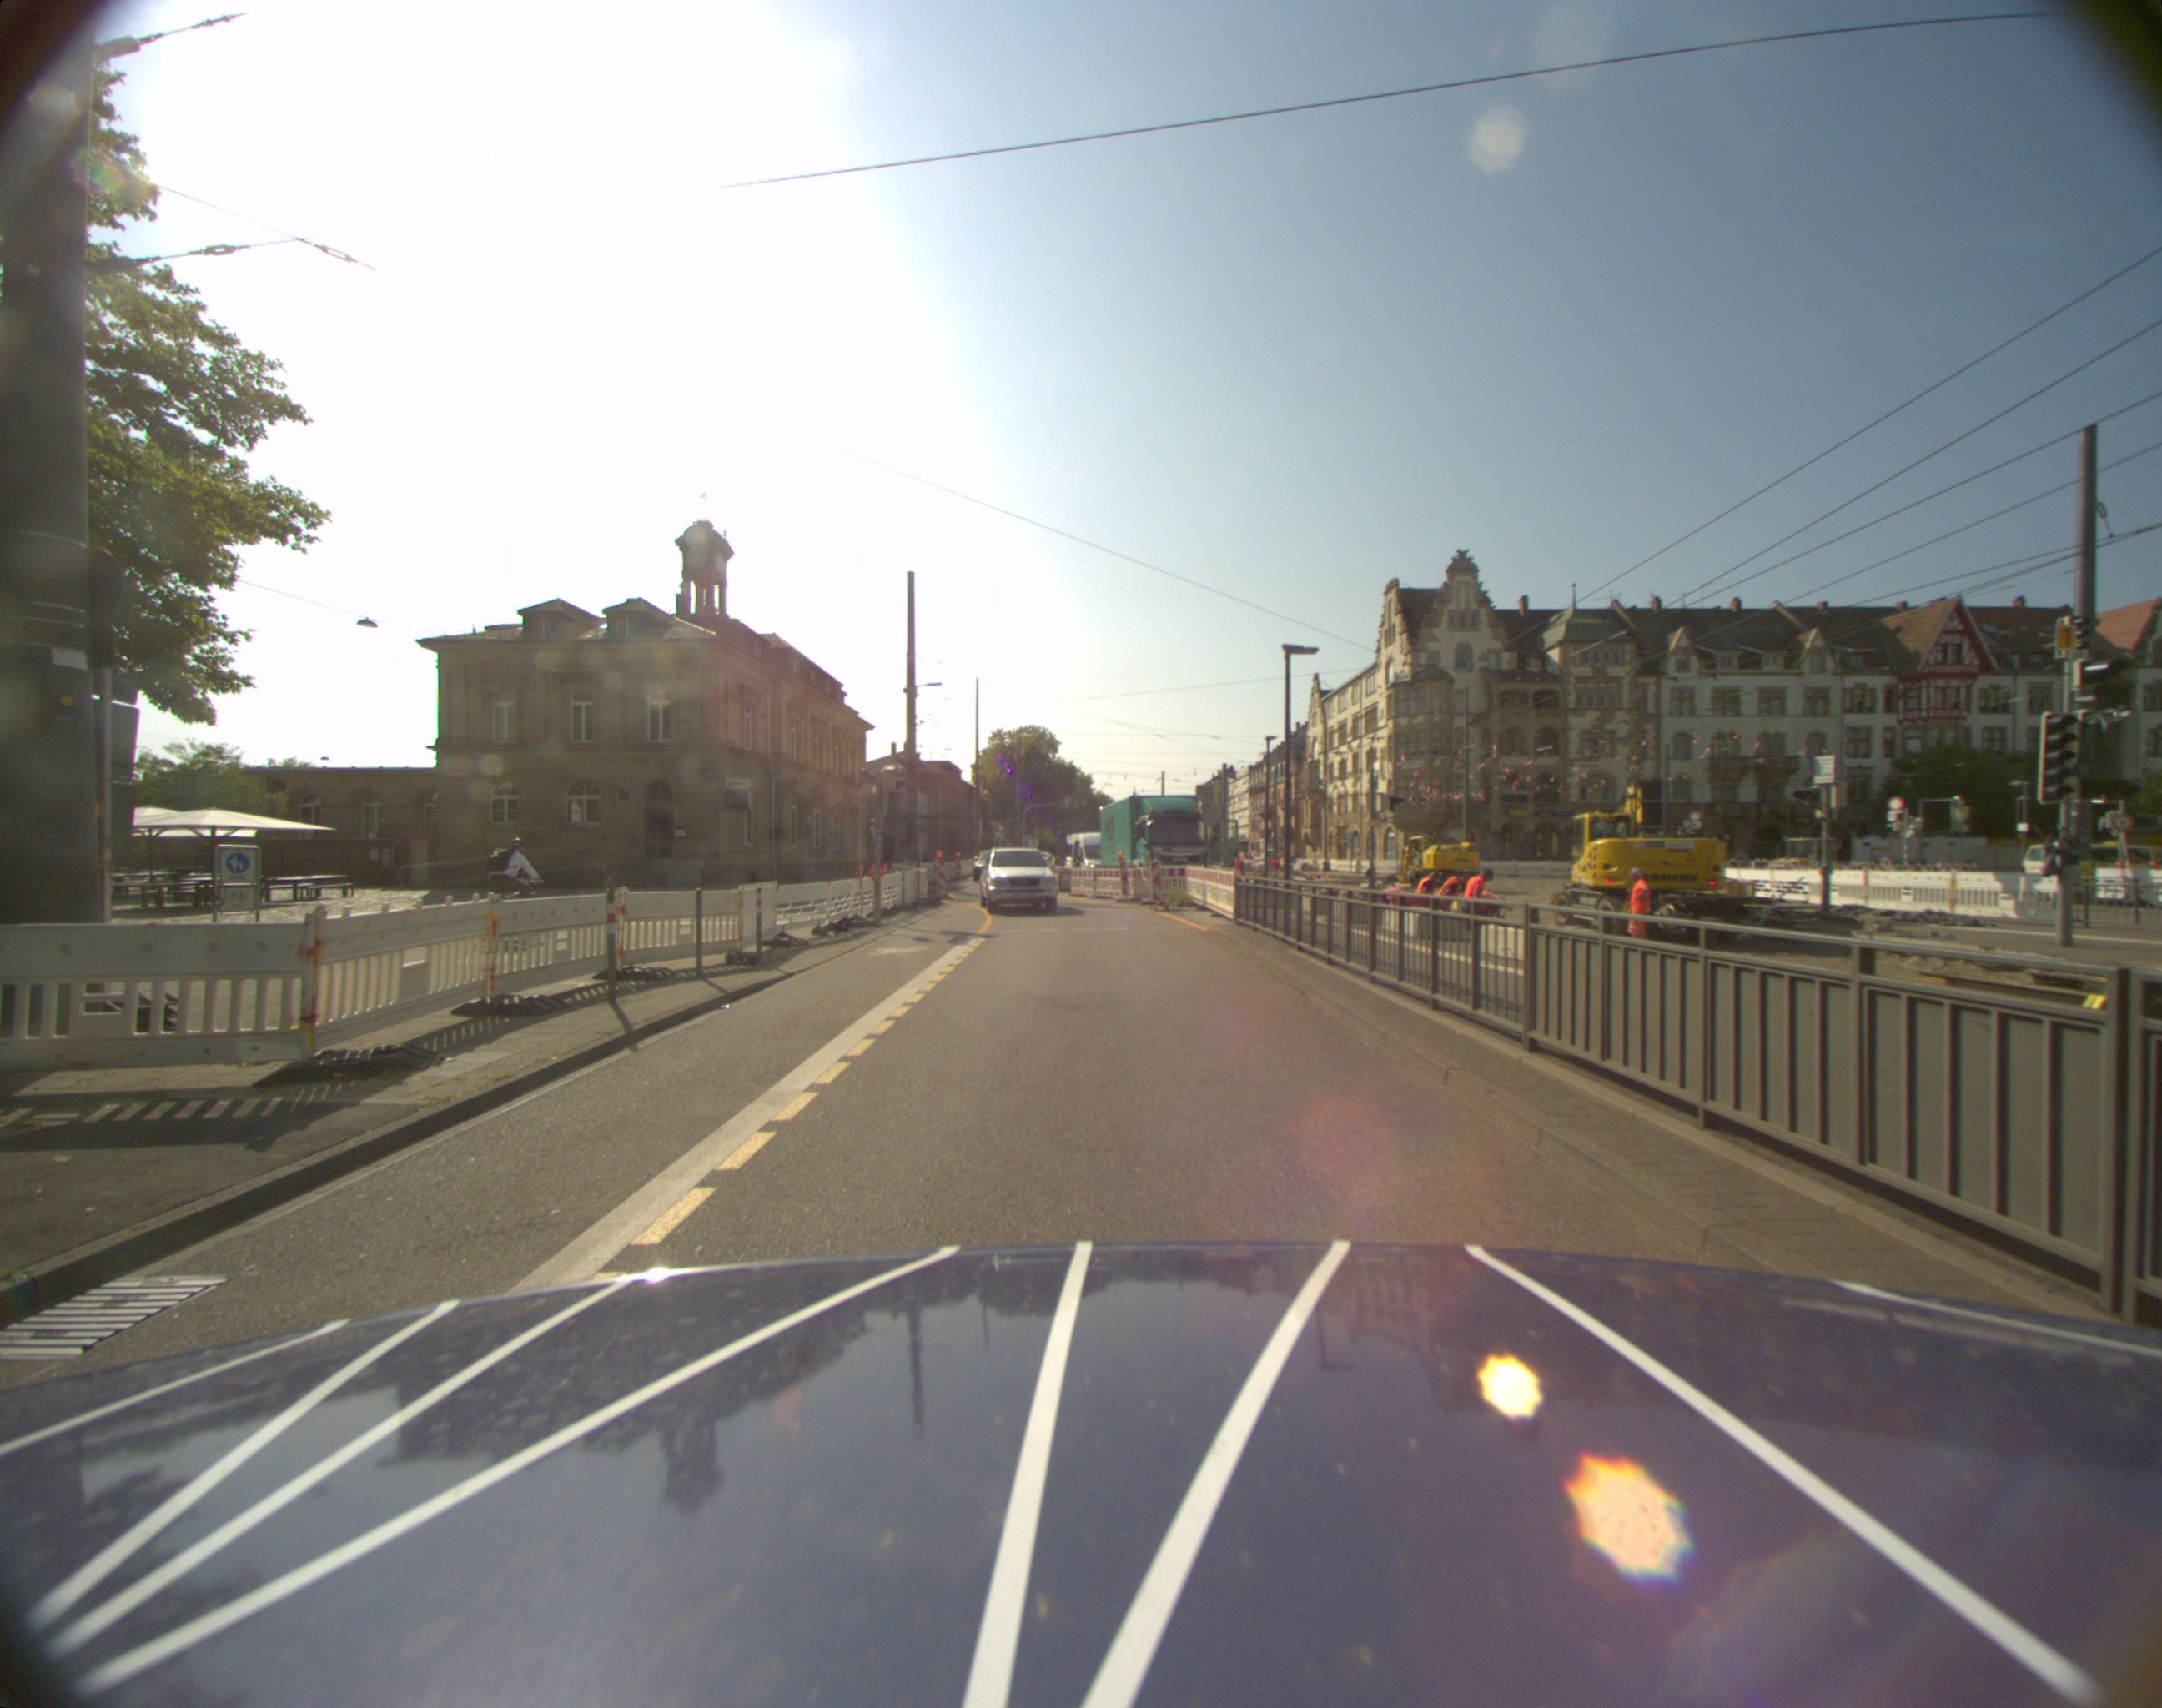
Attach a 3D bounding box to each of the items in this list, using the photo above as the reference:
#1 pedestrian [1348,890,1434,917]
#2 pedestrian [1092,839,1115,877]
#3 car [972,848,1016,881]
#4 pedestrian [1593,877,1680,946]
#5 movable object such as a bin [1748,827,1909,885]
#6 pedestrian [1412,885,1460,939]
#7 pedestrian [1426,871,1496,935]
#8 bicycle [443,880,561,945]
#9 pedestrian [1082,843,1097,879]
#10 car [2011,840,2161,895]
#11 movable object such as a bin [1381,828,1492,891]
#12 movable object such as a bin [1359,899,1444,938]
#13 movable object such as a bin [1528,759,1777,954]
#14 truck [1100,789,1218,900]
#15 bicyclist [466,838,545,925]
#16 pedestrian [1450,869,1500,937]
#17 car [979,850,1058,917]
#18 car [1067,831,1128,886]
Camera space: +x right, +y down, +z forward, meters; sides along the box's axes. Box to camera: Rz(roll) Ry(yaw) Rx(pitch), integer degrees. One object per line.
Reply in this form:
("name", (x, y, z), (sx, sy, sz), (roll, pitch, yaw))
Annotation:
("pedestrian", (8.069, 1.284, 19.861), (1.906, 0.632, 0.913), (0, 0, 5))
("pedestrian", (1.005, 0.179, 33.943), (0.705, 1.684, 0.767), (1, 1, 37))
("car", (-4.738, 0.543, 42.098), (1.999, 1.685, 5.224), (0, 0, -2))
("pedestrian", (10.986, 1.116, 15.072), (1.017, 1.299, 0.983), (0, 0, 5))
("movable object such as a bin", (36.141, 0.083, 36.861), (5.626, 2.723, 2.135), (0, 1, 1))
("pedestrian", (8.277, 1.339, 17.728), (0.983, 1.183, 0.800), (0, 0, 25))
("pedestrian", (8.150, 1.021, 16.337), (1.313, 1.299, 0.800), (0, 0, 25))
("bicycle", (-10.462, 1.024, 13.816), (0.719, 1.036, 1.903), (0, 0, -1))
("pedestrian", (0.470, 0.392, 42.508), (0.735, 2.002, 0.907), (1, 1, 7))
("car", (39.490, 0.517, 29.342), (5.116, 2.018, 1.816), (0, 0, -3))
("movable object such as a bin", (20.490, 0.247, 44.461), (2.853, 3.310, 8.347), (1, 0, 3))
("movable object such as a bin", (6.264, 1.251, 14.892), (1.507, 0.649, 0.702), (0, 0, 22))
("movable object such as a bin", (14.505, 0.067, 20.349), (3.506, 3.989, 9.058), (0, 0, 25))
("truck", (2.716, -0.309, 29.422), (2.682, 3.657, 8.208), (0, 0, -8))
("bicyclist", (-10.459, 0.486, 13.844), (0.719, 1.534, 0.955), (0, 0, -1))
("pedestrian", (7.888, 0.959, 15.245), (0.838, 1.299, 0.800), (0, 0, 25))
("car", (-1.868, 0.741, 21.894), (2.000, 1.686, 5.222), (0, 0, -6))
("car", (0.775, 0.197, 40.176), (2.232, 2.713, 5.165), (0, 0, -10))
